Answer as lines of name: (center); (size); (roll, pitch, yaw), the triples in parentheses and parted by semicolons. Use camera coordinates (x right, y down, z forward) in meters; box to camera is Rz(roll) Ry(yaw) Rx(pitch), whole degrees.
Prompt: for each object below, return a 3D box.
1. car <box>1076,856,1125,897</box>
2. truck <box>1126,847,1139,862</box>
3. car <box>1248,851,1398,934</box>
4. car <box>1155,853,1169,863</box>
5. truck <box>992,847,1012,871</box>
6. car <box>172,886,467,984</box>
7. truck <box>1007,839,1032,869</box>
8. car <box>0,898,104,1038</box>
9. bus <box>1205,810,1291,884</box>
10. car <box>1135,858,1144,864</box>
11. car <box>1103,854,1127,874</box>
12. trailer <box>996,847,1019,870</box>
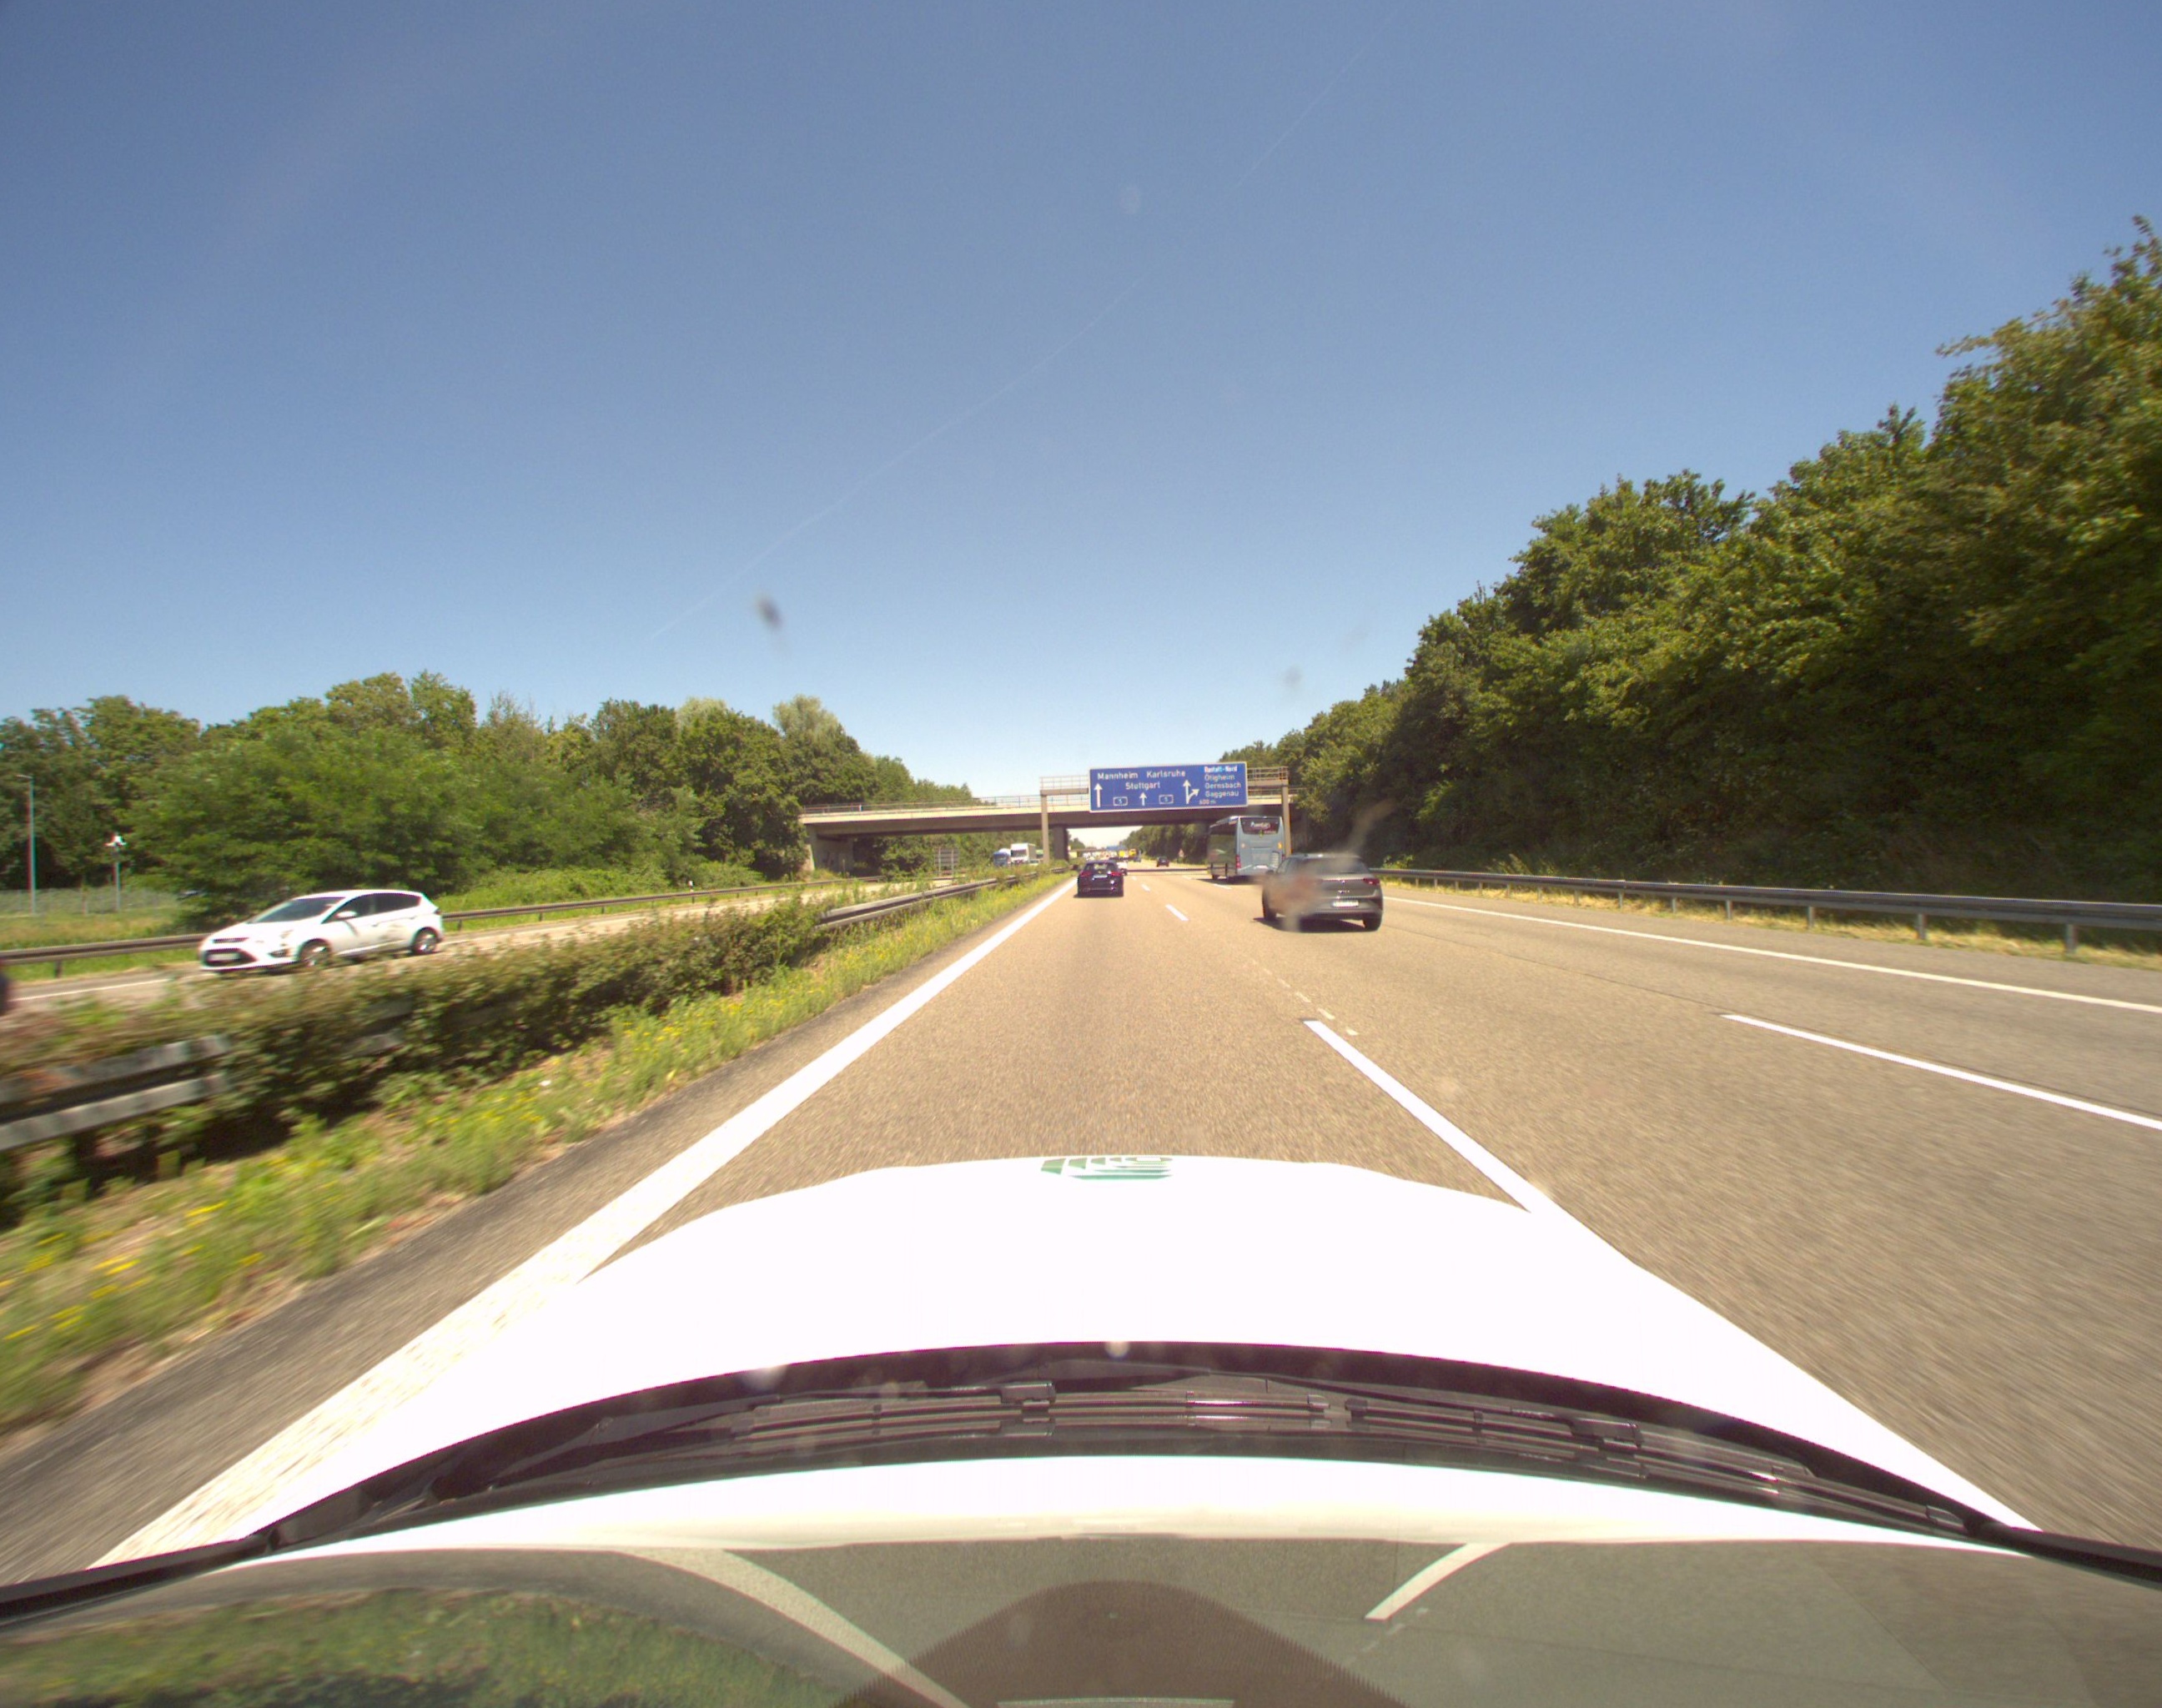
car: (0.754, 0.835, 32.216); (1.793, 1.502, 4.242); (-1, 0, 1)
truck: (16.207, 0.181, 257.778); (3.634, 4.590, 15.768); (0, 0, 1)
car: (5.049, 0.721, 17.726); (1.892, 1.532, 4.760); (-1, 0, 1)
car: (11.927, 0.615, 119.680); (1.782, 1.461, 3.952); (-1, 0, 3)
truck: (-13.160, 0.752, 136.141); (2.351, 3.775, 5.254); (-4, 0, 2)
car: (-16.305, 1.644, 17.893); (1.892, 1.593, 4.744); (-3, 0, 1)
truck: (-9.311, 0.027, 123.839); (2.818, 4.211, 5.891); (-4, 0, 2)
car: (-13.142, 1.377, 7.563); (1.893, 1.532, 5.033); (-5, 0, 1)
bus: (9.289, -0.324, 46.850); (2.791, 3.596, 12.480); (-1, 0, 2)
car: (14.847, 1.732, 207.292); (2.072, 1.532, 4.244); (-1, 0, 3)
car: (2.750, 0.782, 66.659); (1.892, 1.532, 4.242); (-1, 0, 1)
trailer: (-12.901, 0.754, 143.318); (2.350, 3.794, 12.080); (-4, 0, 2)
